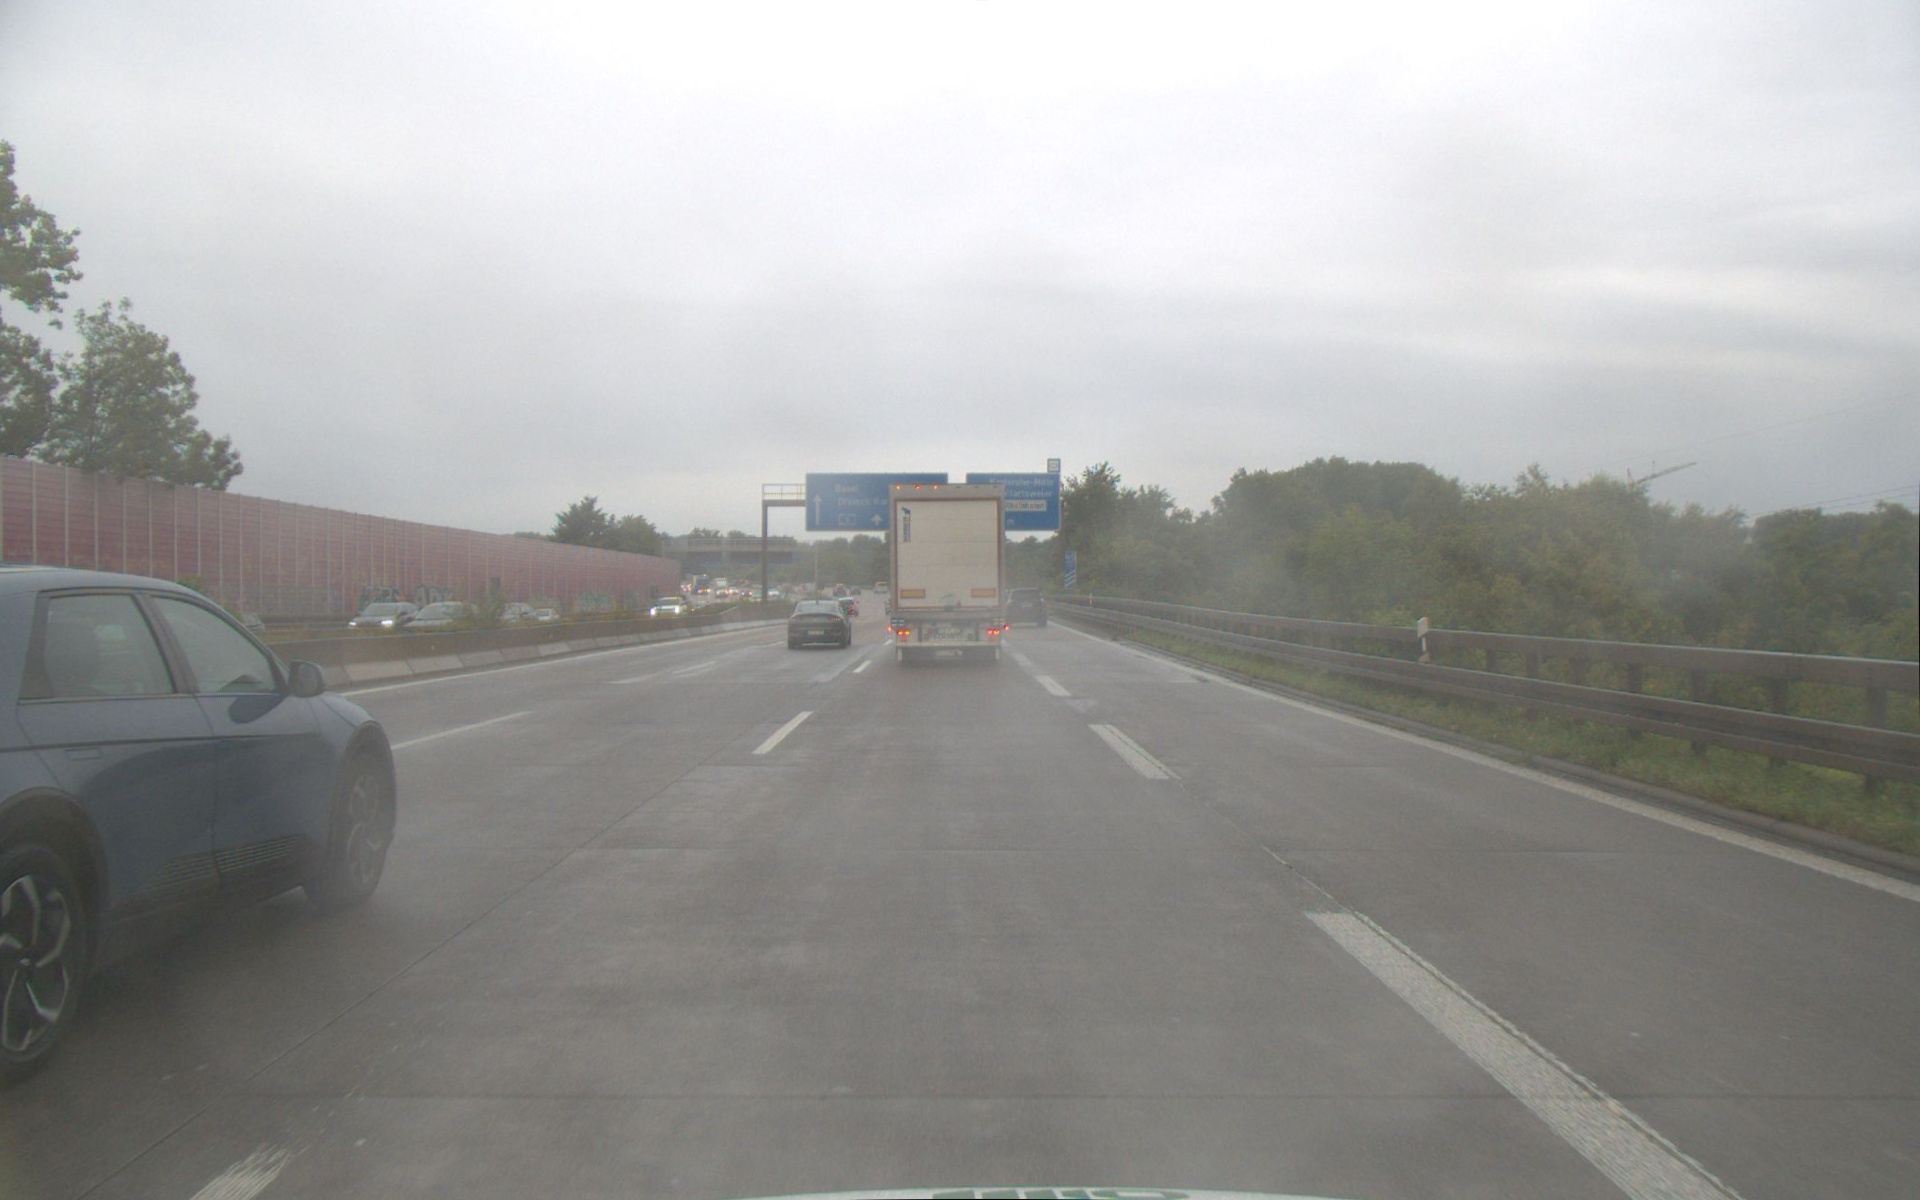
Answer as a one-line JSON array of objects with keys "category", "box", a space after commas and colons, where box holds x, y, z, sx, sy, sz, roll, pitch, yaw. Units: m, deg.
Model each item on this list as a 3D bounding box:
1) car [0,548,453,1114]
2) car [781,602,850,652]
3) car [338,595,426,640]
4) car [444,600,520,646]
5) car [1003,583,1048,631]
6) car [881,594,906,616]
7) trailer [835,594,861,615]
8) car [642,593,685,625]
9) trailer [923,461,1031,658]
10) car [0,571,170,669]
[{"category": "car", "box": [-3.676, 0.663, 6.576, 1.801, 1.622, 5.155, 0, 0, -1]}, {"category": "car", "box": [-4.400, 0.794, 50.895, 1.690, 1.427, 4.828, 1, 0, 0]}, {"category": "car", "box": [-23.124, 0.678, 66.359, 1.953, 1.677, 4.538, -1, 0, -1]}, {"category": "car", "box": [-19.444, 0.909, 67.456, 1.953, 1.754, 3.999, -1, 0, -1]}, {"category": "car", "box": [2.860, 0.301, 73.043, 1.858, 1.983, 4.000, 2, 0, 1]}, {"category": "car", "box": [-5.472, 0.414, 135.704, 1.855, 1.754, 4.000, 1, 0, 0]}, {"category": "trailer", "box": [-9.270, 0.373, 137.099, 1.778, 1.653, 4.568, 1, 0, 0]}, {"category": "car", "box": [-20.563, 0.603, 115.072, 1.953, 2.049, 5.805, 2, 0, -1]}, {"category": "trailer", "box": [0.364, -1.004, 43.328, 2.294, 4.229, 14.827, 1, 1, 0]}, {"category": "car", "box": [-18.811, 0.383, 34.808, 1.954, 1.892, 5.538, 1, 0, -3]}]
